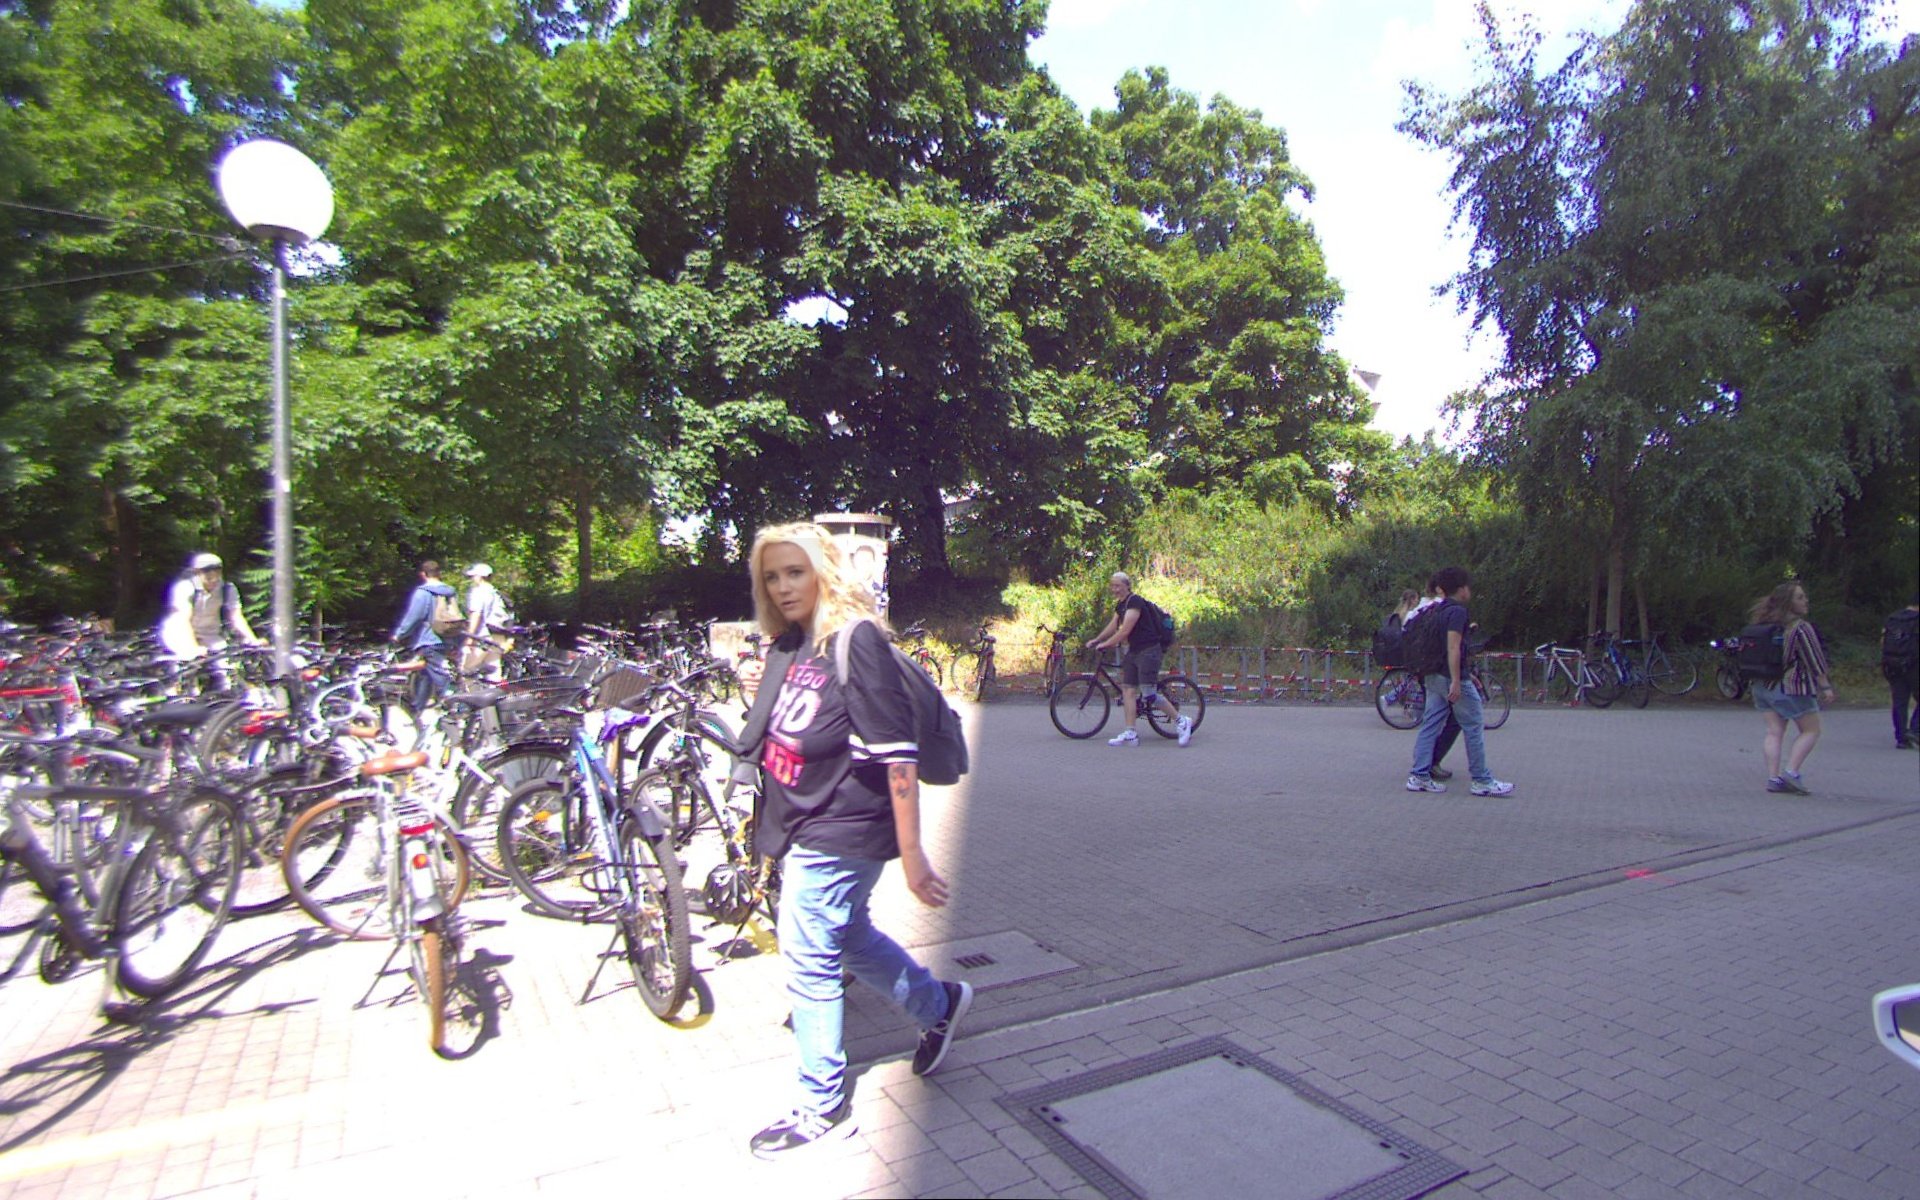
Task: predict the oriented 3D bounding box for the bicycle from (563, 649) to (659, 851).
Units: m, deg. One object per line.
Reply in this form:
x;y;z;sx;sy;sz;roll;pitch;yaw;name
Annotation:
-2.292;0.915;6.721;0.466;1.098;1.718;1;0;-15;bicycle

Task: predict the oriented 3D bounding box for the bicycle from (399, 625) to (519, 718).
-6.585;0.904;13.303;0.464;1.125;1.779;1;0;8;bicycle

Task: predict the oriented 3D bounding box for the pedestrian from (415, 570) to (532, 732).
-5.650;0.575;11.718;0.964;1.828;0.770;0;0;4;pedestrian

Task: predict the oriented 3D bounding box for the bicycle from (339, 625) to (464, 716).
-7.614;0.927;13.776;0.507;1.125;1.779;1;0;8;bicycle

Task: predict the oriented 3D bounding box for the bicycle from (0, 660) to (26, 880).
-4.877;0.858;4.370;0.466;1.098;1.694;1;0;-16;bicycle

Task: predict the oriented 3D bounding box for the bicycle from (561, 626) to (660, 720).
-4.614;0.933;13.397;0.464;1.125;1.779;1;0;8;bicycle

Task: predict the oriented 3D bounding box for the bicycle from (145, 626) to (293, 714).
-10.351;0.944;14.115;0.507;1.125;1.779;1;0;12;bicycle

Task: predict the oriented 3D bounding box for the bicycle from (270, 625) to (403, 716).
-8.475;0.924;13.743;0.507;1.125;1.779;1;0;8;bicycle

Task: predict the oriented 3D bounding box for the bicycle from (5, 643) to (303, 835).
-5.466;0.877;6.958;0.464;1.098;1.701;1;0;11;bicycle

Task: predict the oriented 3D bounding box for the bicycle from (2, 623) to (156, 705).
-13.132;0.924;15.047;0.507;1.125;1.779;1;0;12;bicycle

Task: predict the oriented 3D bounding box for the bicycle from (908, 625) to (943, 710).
-0.483;0.941;14.556;0.465;1.125;1.778;1;0;-1;bicycle

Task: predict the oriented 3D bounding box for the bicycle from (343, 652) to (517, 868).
-3.268;0.916;6.334;0.465;1.098;1.696;1;0;-10;bicycle

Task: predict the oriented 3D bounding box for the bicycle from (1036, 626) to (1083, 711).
1.431;0.965;14.652;0.465;1.125;1.778;1;0;-1;bicycle

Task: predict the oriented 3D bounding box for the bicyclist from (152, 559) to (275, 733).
-7.063;0.420;9.521;0.707;1.589;0.596;1;0;9;bicyclist

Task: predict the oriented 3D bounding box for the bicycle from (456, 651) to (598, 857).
-2.785;0.924;6.605;0.465;1.098;1.696;1;0;-10;bicycle

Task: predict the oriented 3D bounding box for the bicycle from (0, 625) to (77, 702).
-14.690;0.969;15.388;0.507;1.125;1.779;1;0;12;bicycle

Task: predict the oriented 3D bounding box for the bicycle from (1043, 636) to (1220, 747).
1.820;0.968;10.765;1.808;1.125;0.474;1;0;0;bicycle

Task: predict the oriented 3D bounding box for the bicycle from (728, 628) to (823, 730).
-2.233;0.929;12.383;0.464;1.125;1.779;1;0;13;bicycle

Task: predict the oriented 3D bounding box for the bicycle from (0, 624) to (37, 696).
-15.488;0.953;15.553;0.507;1.125;1.779;1;0;12;bicycle

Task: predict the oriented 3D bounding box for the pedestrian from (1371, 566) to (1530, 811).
3.877;0.682;8.002;0.922;1.860;0.686;-1;-1;4;pedestrian

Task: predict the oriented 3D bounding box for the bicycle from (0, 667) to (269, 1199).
-2.717;0.851;3.062;0.466;1.184;1.775;1;0;-17;bicycle

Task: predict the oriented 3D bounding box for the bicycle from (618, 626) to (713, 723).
-3.762;0.921;12.961;0.464;1.125;1.779;1;0;8;bicycle

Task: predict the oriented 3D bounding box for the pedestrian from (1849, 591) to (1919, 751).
10.708;0.774;11.402;0.894;1.747;0.680;1;0;-32;pedestrian

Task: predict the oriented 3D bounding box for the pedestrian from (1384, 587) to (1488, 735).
5.806;0.729;12.280;0.919;1.747;0.677;-1;-1;-2;pedestrian

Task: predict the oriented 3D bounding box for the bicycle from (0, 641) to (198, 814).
-6.535;0.880;7.333;0.464;1.098;1.701;1;0;8;bicycle

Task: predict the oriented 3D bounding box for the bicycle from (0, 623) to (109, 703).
-13.979;0.928;15.166;0.507;1.125;1.779;1;0;12;bicycle

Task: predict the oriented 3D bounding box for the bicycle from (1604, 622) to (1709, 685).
12.611;0.966;18.188;1.668;1.061;0.473;1;1;-9;bicycle

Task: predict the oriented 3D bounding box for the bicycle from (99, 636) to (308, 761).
-7.209;0.913;9.594;1.665;1.098;0.604;1;0;9;bicycle

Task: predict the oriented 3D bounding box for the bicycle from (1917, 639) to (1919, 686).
19.726;1.262;19.803;1.711;0.922;0.421;2;-1;-15;bicycle

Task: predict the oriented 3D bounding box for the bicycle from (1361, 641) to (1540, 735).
5.834;1.038;12.001;1.870;1.061;0.542;0;0;2;bicycle

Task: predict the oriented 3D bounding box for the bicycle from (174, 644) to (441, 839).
-4.355;0.884;6.866;0.464;1.098;1.701;1;0;11;bicycle

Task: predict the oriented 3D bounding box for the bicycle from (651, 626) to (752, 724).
-3.247;0.914;12.776;0.464;1.125;1.779;1;0;13;bicycle

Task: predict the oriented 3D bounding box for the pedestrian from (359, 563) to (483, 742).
-5.740;0.540;10.749;0.865;1.839;0.835;0;0;1;pedestrian

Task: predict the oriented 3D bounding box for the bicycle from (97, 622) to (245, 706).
-11.458;0.893;14.667;0.507;1.125;1.779;1;0;12;bicycle

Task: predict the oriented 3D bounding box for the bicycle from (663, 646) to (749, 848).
-1.757;0.911;6.812;0.466;1.125;1.693;1;0;-17;bicycle

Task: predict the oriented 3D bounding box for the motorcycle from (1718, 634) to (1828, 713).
12.733;1.117;15.797;0.464;1.061;2.027;1;1;12;motorcycle

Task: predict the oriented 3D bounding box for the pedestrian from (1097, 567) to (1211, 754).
1.978;0.605;10.320;1.029;1.860;0.614;0;0;-2;pedestrian

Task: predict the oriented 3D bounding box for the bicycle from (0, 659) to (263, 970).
-3.826;0.866;4.664;0.466;1.098;1.693;1;0;-17;bicycle

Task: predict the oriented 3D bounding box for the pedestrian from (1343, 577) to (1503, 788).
3.991;0.694;8.723;1.043;1.747;0.719;-1;-1;2;pedestrian

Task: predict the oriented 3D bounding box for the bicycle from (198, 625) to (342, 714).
-9.491;0.920;13.911;0.507;1.125;1.779;1;0;12;bicycle

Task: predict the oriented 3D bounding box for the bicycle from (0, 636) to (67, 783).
-7.534;0.834;7.294;0.464;1.098;1.700;1;0;5;bicycle

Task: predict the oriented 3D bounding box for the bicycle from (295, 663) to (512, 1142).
-2.006;0.862;3.515;0.469;1.184;1.682;1;0;-35;bicycle

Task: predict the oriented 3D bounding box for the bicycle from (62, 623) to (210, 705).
-12.238;0.917;14.997;0.507;1.125;1.779;1;0;12;bicycle

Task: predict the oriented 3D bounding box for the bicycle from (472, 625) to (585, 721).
-5.575;0.909;13.086;0.464;1.125;1.779;1;0;8;bicycle

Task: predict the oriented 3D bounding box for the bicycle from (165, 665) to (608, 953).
-2.539;0.875;4.627;1.678;1.098;0.505;1;0;-28;bicycle

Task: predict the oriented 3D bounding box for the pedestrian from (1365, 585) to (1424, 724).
5.635;0.690;13.038;0.673;1.747;0.731;-1;-1;24;pedestrian

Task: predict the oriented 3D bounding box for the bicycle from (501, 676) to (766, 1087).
-1.315;0.902;3.821;0.469;1.106;1.682;1;0;-35;bicycle

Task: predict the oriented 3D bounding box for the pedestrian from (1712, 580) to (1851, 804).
6.780;0.717;8.298;0.723;1.747;0.680;0;0;-32;pedestrian

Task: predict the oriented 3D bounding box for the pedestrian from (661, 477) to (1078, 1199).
-0.238;0.582;2.858;0.758;1.702;0.903;-1;-1;40;pedestrian

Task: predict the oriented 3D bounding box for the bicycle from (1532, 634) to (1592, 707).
9.557;1.090;15.983;0.465;1.061;1.700;1;0;19;bicycle

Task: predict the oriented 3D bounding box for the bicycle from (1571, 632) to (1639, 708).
10.166;1.072;15.880;0.465;1.061;1.699;2;1;19;bicycle

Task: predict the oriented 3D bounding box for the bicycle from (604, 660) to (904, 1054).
-0.905;0.874;4.038;0.470;1.174;1.681;1;0;-38;bicycle

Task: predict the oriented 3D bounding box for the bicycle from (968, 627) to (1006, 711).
0.377;0.972;14.668;0.465;1.125;1.778;1;0;-1;bicycle
